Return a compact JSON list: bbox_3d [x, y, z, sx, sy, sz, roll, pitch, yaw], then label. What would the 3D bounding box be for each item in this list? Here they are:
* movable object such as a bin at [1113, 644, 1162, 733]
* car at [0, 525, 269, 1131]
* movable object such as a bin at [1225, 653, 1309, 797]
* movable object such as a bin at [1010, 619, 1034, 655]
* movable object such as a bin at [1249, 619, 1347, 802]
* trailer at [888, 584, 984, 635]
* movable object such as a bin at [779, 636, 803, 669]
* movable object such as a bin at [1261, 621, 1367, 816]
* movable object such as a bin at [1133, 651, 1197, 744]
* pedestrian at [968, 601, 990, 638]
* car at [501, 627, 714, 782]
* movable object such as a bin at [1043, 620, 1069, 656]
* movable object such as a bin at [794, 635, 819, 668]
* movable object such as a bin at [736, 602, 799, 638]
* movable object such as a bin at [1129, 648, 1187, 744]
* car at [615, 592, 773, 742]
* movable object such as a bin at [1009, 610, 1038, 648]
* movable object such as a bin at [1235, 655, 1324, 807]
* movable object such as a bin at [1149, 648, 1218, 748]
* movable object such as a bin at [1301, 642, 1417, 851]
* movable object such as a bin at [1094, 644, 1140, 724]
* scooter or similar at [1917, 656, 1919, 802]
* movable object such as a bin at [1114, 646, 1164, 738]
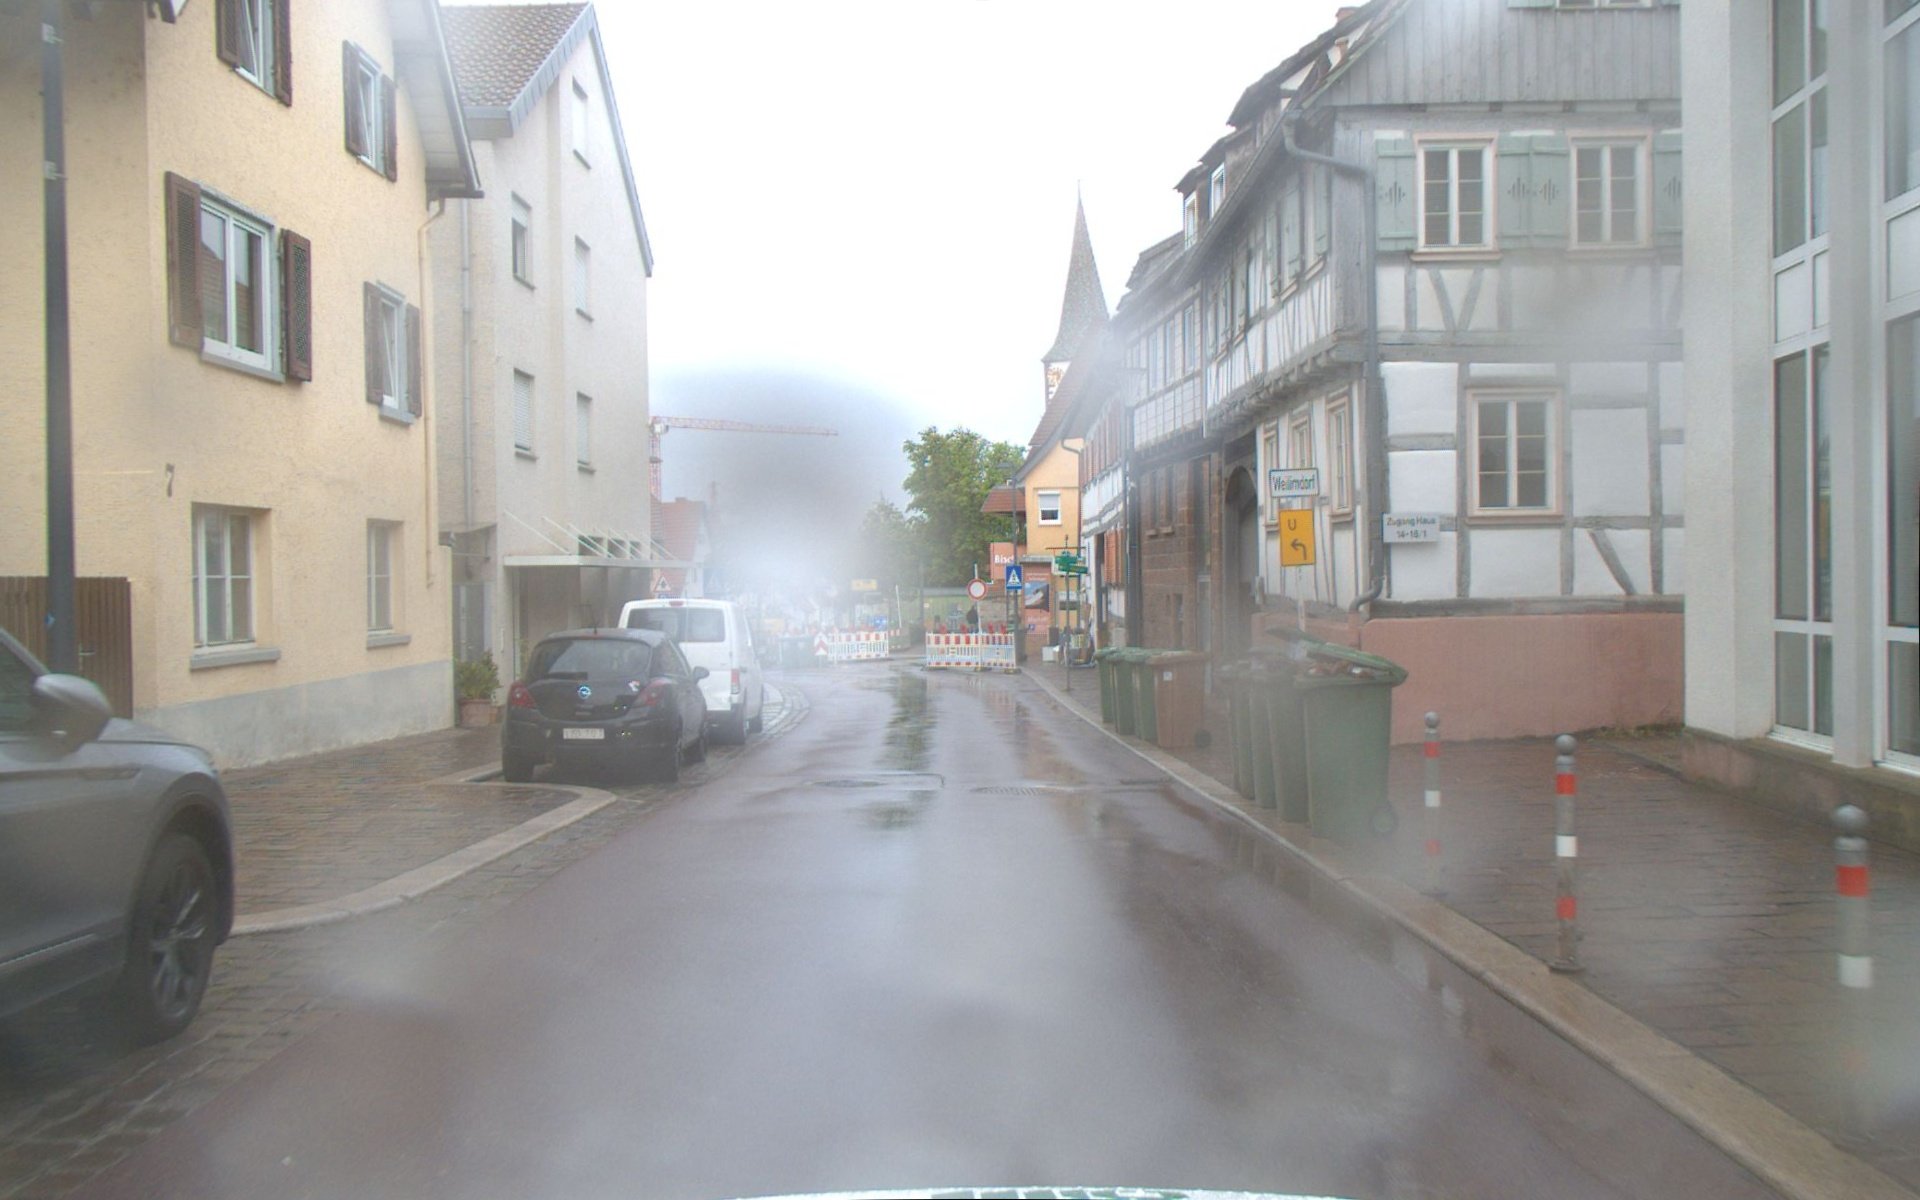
[{"bbox_3d":[2.376,1.180,22.147,0.624,1.167,0.580,-1,-1,4],"label":"movable object such as a bin"},{"bbox_3d":[-3.393,0.602,4.019,1.744,1.596,4.405,0,-1,-3],"label":"car"},{"bbox_3d":[2.526,1.020,13.653,0.603,1.151,0.632,-1,-1,4],"label":"movable object such as a bin"},{"bbox_3d":[1.979,1.172,52.413,0.603,1.084,0.540,-3,-2,15],"label":"movable object such as a bin"},{"bbox_3d":[2.500,0.804,12.279,0.624,1.313,0.632,-1,-1,4],"label":"movable object such as a bin"},{"bbox_3d":[-1.474,0.567,100.533,5.670,2.999,1.997,0,-1,-6],"label":"trailer"},{"bbox_3d":[-5.490,1.700,53.764,0.530,1.055,0.571,-4,-3,32],"label":"movable object such as a bin"},{"bbox_3d":[2.446,0.805,11.493,0.624,1.313,0.632,-1,-1,4],"label":"movable object such as a bin"},{"bbox_3d":[2.499,1.182,20.217,0.656,1.100,0.587,-2,-2,-3],"label":"movable object such as a bin"},{"bbox_3d":[0.932,0.962,80.121,0.971,1.789,0.850,0,-1,-7],"label":"pedestrian"},{"bbox_3d":[-3.538,0.991,17.214,1.648,1.413,3.822,0,-1,-4],"label":"car"},{"bbox_3d":[2.967,1.179,51.345,0.666,1.084,0.538,-2,-1,-9],"label":"movable object such as a bin"},{"bbox_3d":[-4.958,1.662,53.429,0.533,1.051,0.533,-4,-3,32],"label":"movable object such as a bin"},{"bbox_3d":[-11.456,1.194,98.590,3.332,2.049,3.478,-1,-1,0],"label":"movable object such as a bin"},{"bbox_3d":[2.495,1.201,20.868,0.625,1.167,0.631,0,-1,-3],"label":"movable object such as a bin"},{"bbox_3d":[-3.577,0.876,22.907,1.689,1.857,4.425,0,-1,-3],"label":"car"},{"bbox_3d":[2.690,1.220,70.088,1.043,1.539,1.243,-4,0,6],"label":"movable object such as a bin"},{"bbox_3d":[2.497,1.016,12.984,0.603,1.151,0.632,-1,-1,4],"label":"movable object such as a bin"},{"bbox_3d":[2.554,1.112,18.927,0.665,1.116,0.650,0,-1,-5],"label":"movable object such as a bin"},{"bbox_3d":[2.581,0.933,10.755,0.624,1.313,0.632,-1,-1,4],"label":"movable object such as a bin"},{"bbox_3d":[2.320,1.238,24.487,0.597,1.147,0.599,0,-1,-1],"label":"movable object such as a bin"},{"bbox_3d":[4.866,0.836,7.208,0.651,1.166,1.447,-1,-1,6],"label":"scooter or similar"},{"bbox_3d":[2.326,1.194,21.537,0.624,1.167,0.604,-1,-1,4],"label":"movable object such as a bin"}]
